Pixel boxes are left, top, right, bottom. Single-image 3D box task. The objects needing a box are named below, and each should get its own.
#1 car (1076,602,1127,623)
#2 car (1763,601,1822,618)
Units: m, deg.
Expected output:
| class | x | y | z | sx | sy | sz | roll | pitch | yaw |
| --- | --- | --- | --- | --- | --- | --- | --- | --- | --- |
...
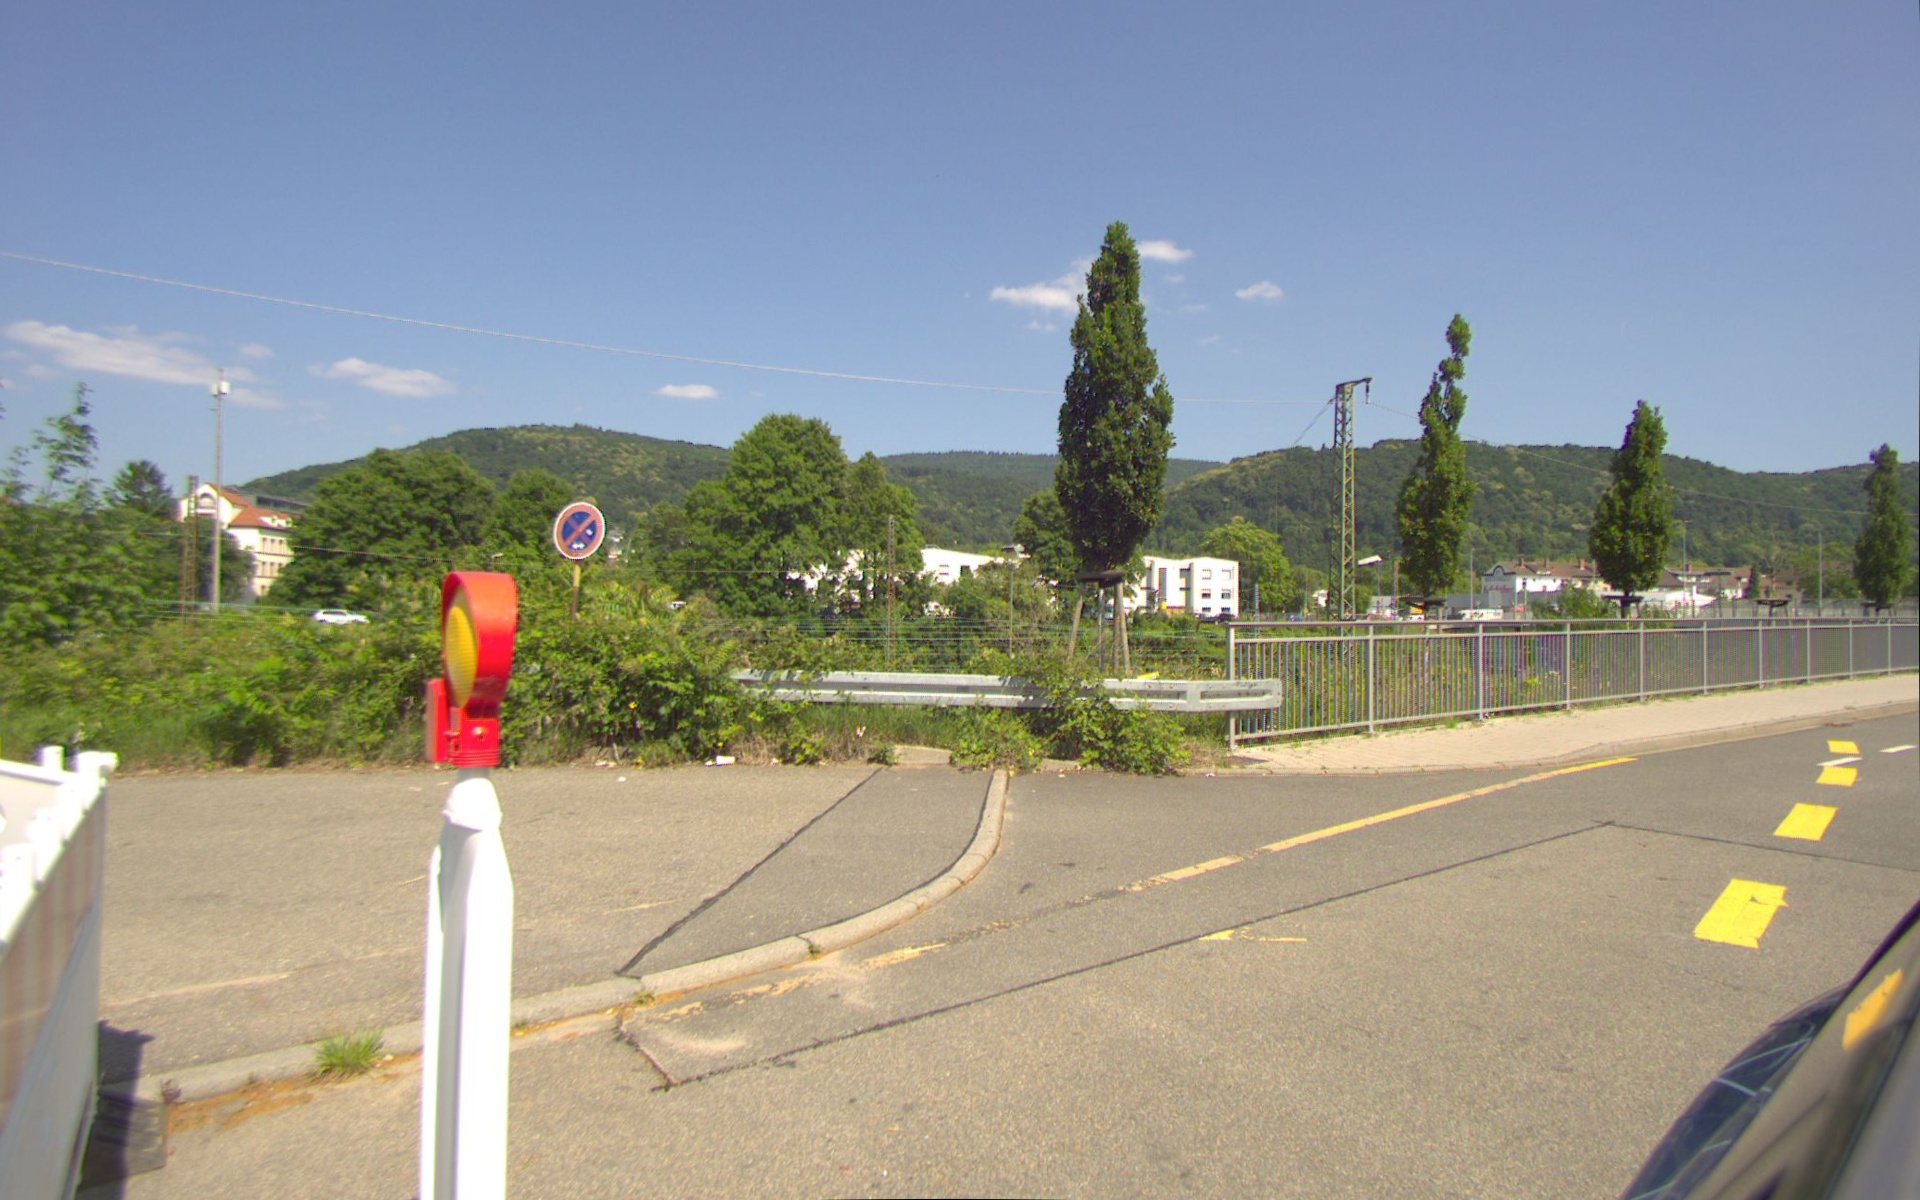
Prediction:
| class | x | y | z | sx | sy | sz | roll | pitch | yaw |
| --- | --- | --- | --- | --- | --- | --- | --- | --- | --- |
| car | 16.473 | 1.412 | 117.724 | 5.404 | 2.130 | 2.137 | -1 | -5 | -22 |
| car | 80.808 | 0.903 | 98.351 | 1.795 | 1.510 | 4.374 | -3 | 0 | -5 |
